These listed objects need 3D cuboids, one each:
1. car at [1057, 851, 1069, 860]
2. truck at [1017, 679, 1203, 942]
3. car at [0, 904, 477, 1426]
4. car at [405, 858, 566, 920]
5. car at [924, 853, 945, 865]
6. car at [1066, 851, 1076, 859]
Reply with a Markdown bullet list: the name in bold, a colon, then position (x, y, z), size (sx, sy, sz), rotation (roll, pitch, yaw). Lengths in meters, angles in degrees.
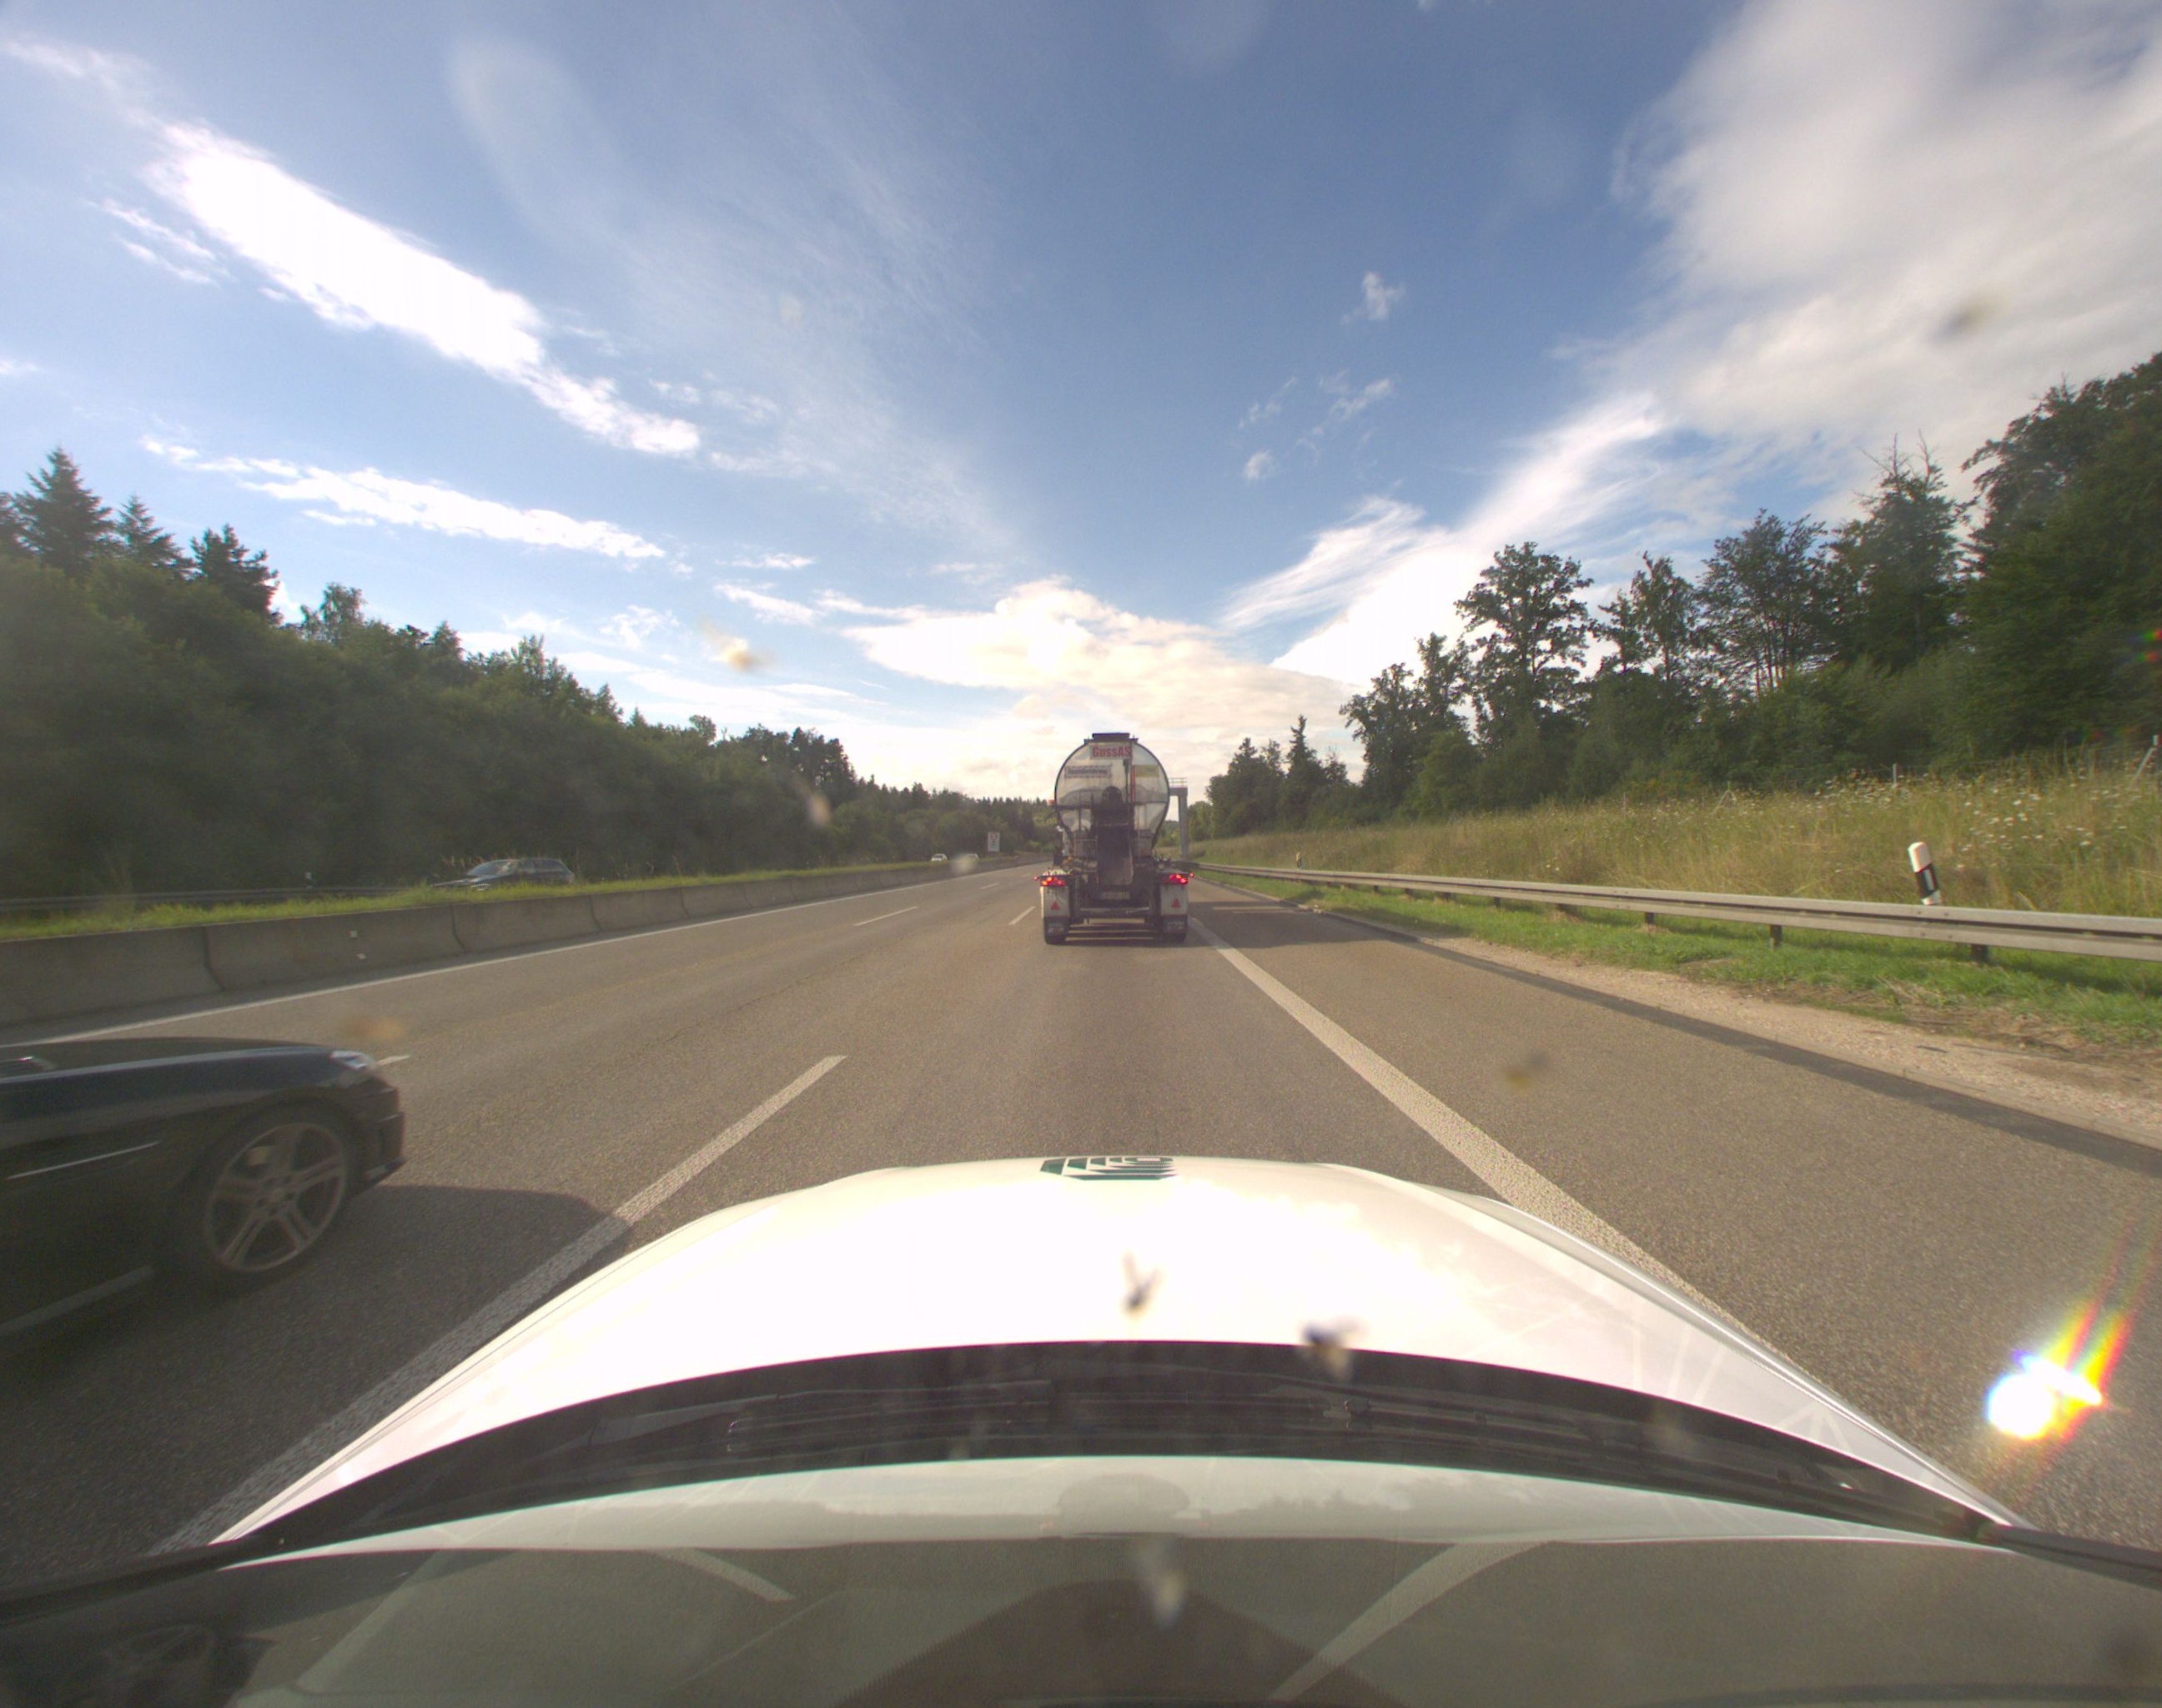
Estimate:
- **car**: position (-3.056, 0.324, 140.916), size (1.829, 1.517, 4.334), rotation (-1, 0, 1)
- **truck**: position (0.649, -0.709, 18.636), size (2.902, 4.157, 11.274), rotation (-1, 0, 2)
- **car**: position (-3.771, 0.897, 1.720), size (1.738, 1.283, 4.200), rotation (-1, 0, 2)
- **car**: position (-18.230, 1.004, 25.197), size (1.899, 1.717, 4.002), rotation (-1, 0, 2)
- **car**: position (-20.243, 0.688, 112.757), size (1.943, 1.539, 4.329), rotation (-1, 0, 2)
- **car**: position (-2.012, 0.208, 165.406), size (1.849, 1.431, 4.842), rotation (-1, 0, 2)
